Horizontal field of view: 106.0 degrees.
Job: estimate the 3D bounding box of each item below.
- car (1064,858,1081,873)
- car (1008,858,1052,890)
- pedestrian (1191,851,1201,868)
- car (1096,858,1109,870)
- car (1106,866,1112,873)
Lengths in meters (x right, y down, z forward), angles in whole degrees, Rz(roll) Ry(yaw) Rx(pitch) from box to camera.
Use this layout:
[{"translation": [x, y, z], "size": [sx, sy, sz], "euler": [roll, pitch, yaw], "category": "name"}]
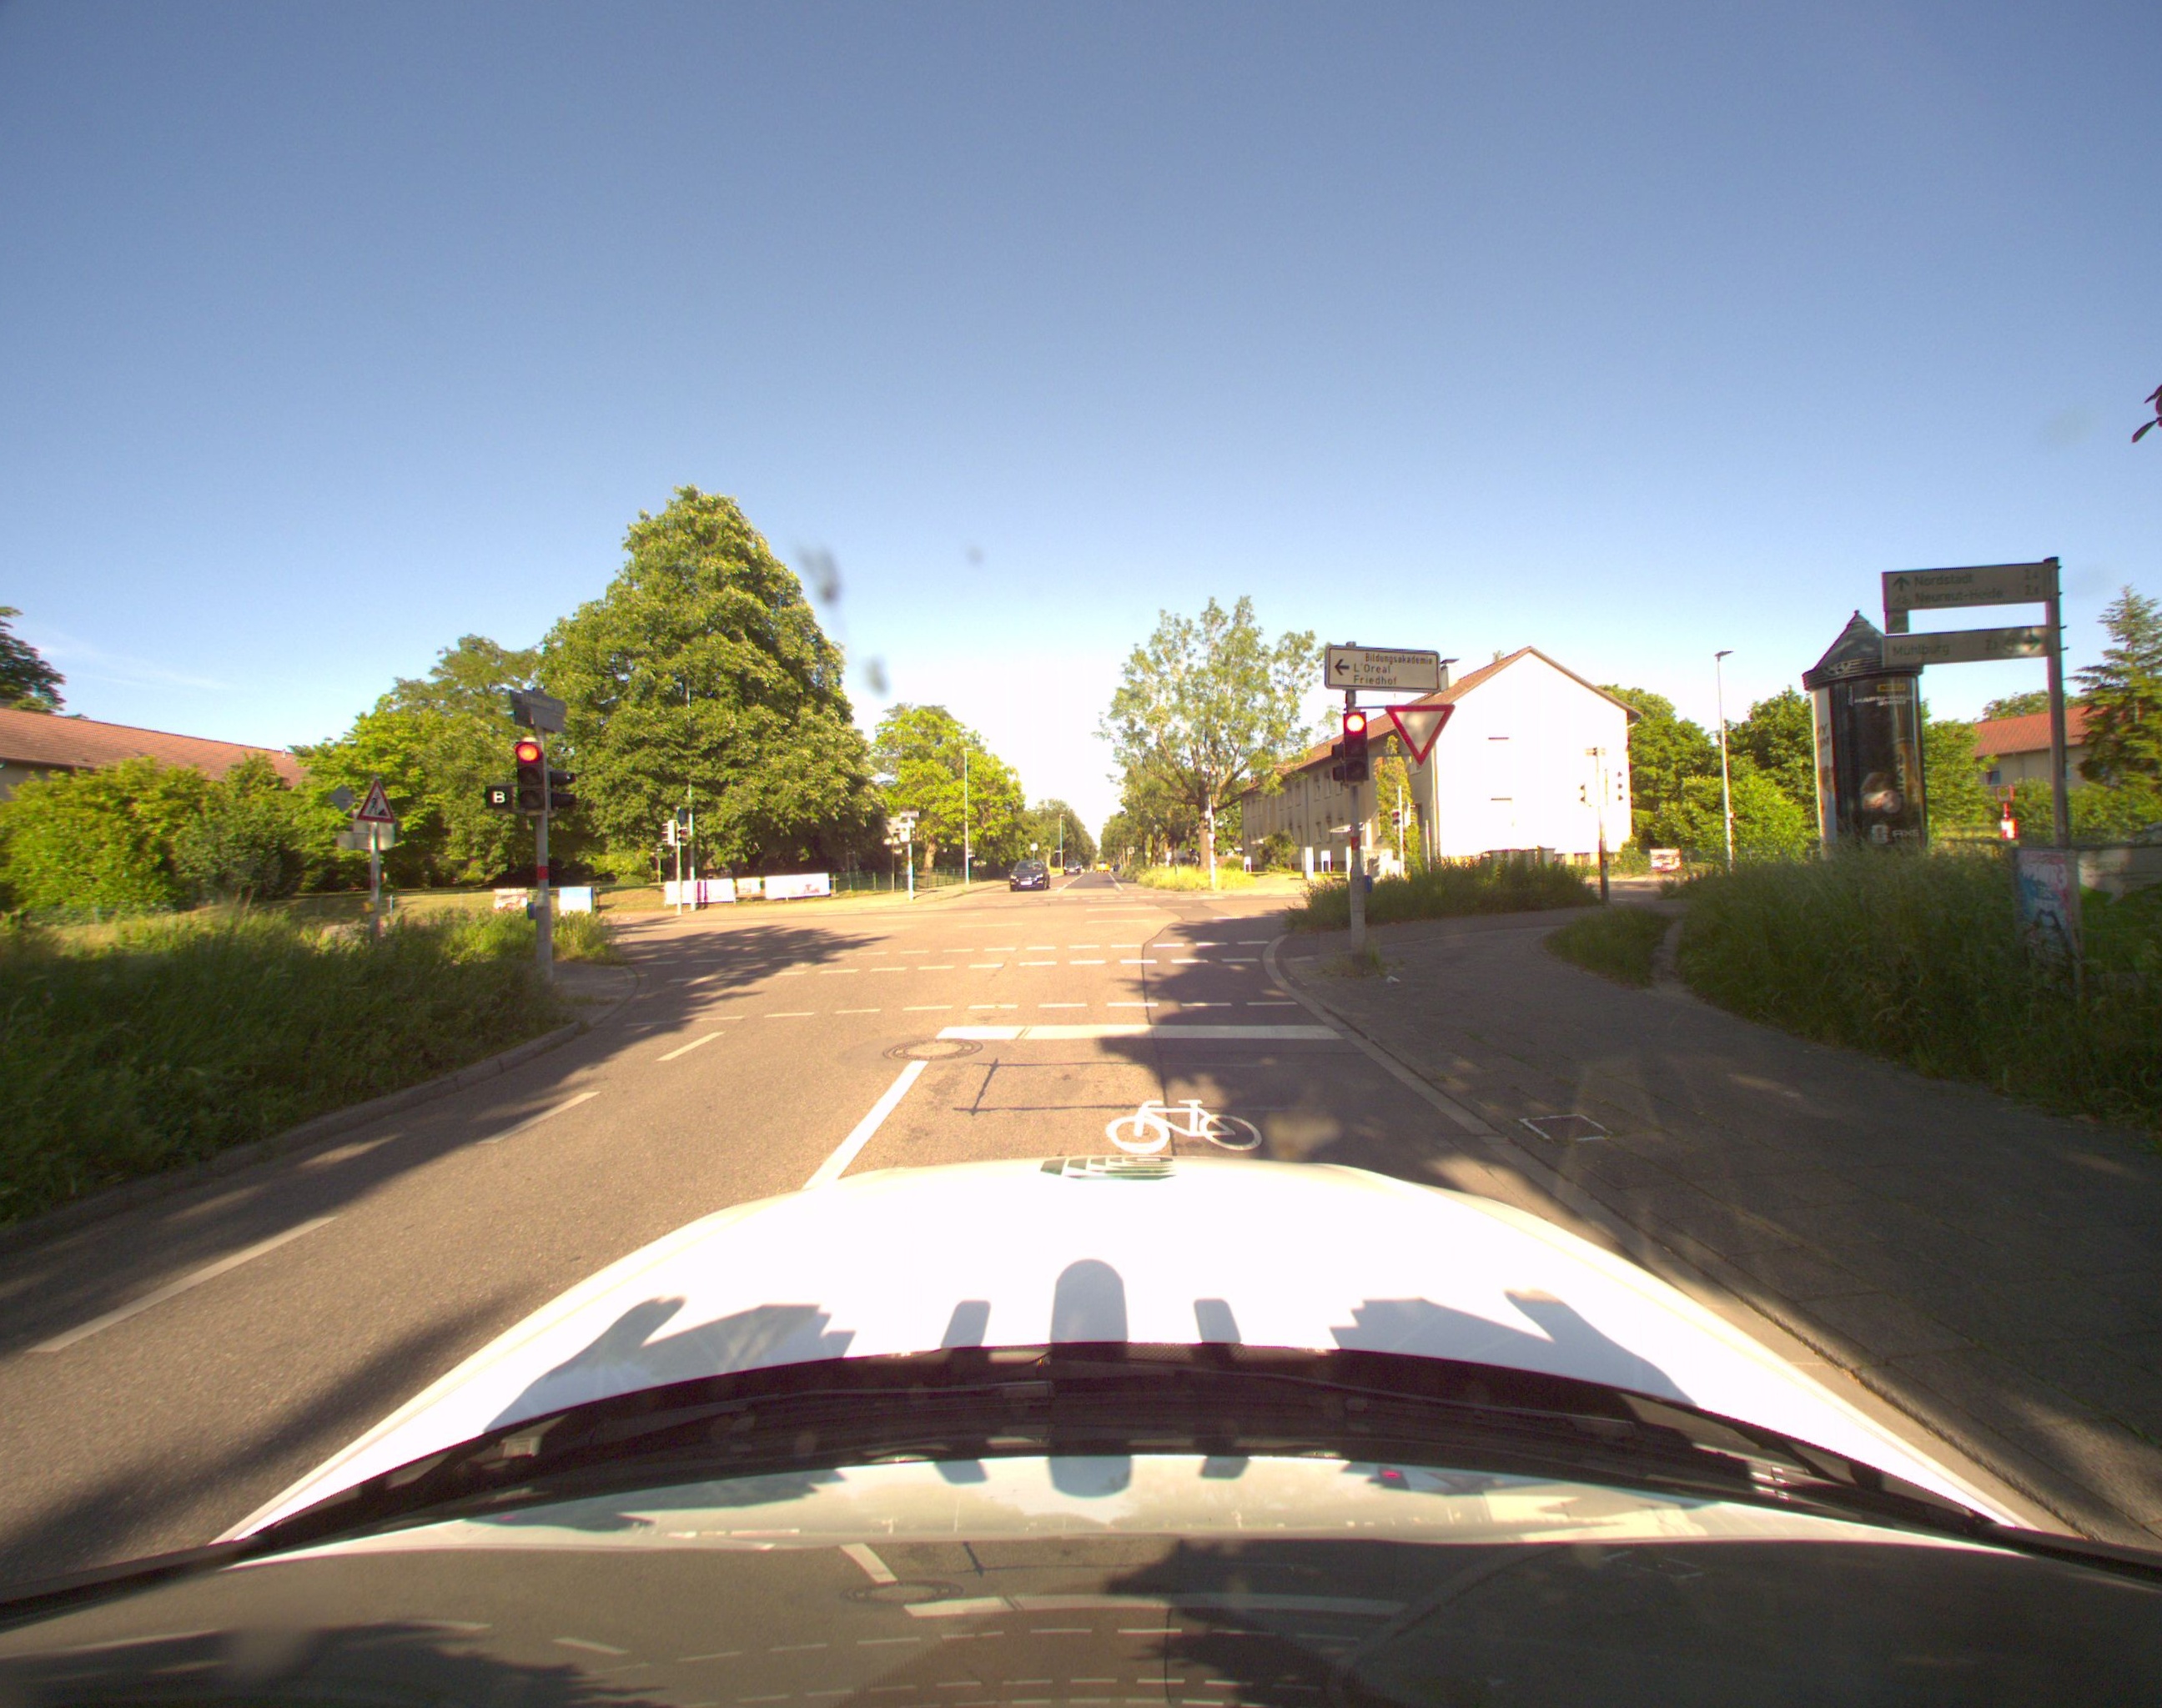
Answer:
[{"translation": [-0.947, 1.316, 91.954], "size": [1.751, 1.624, 3.271], "euler": [-2, 0, 3], "category": "car"}, {"translation": [-2.379, 0.920, 38.818], "size": [1.704, 1.385, 3.473], "euler": [-2, 0, 3], "category": "car"}, {"translation": [10.535, 0.514, 74.455], "size": [0.839, 1.493, 0.924], "euler": [1, 0, 1], "category": "pedestrian"}, {"translation": [2.914, 1.318, 109.601], "size": [1.745, 1.582, 4.002], "euler": [-1, -1, 2], "category": "car"}, {"translation": [7.543, 4.162, 219.282], "size": [1.766, 1.754, 4.002], "euler": [-1, -1, 2], "category": "car"}]
